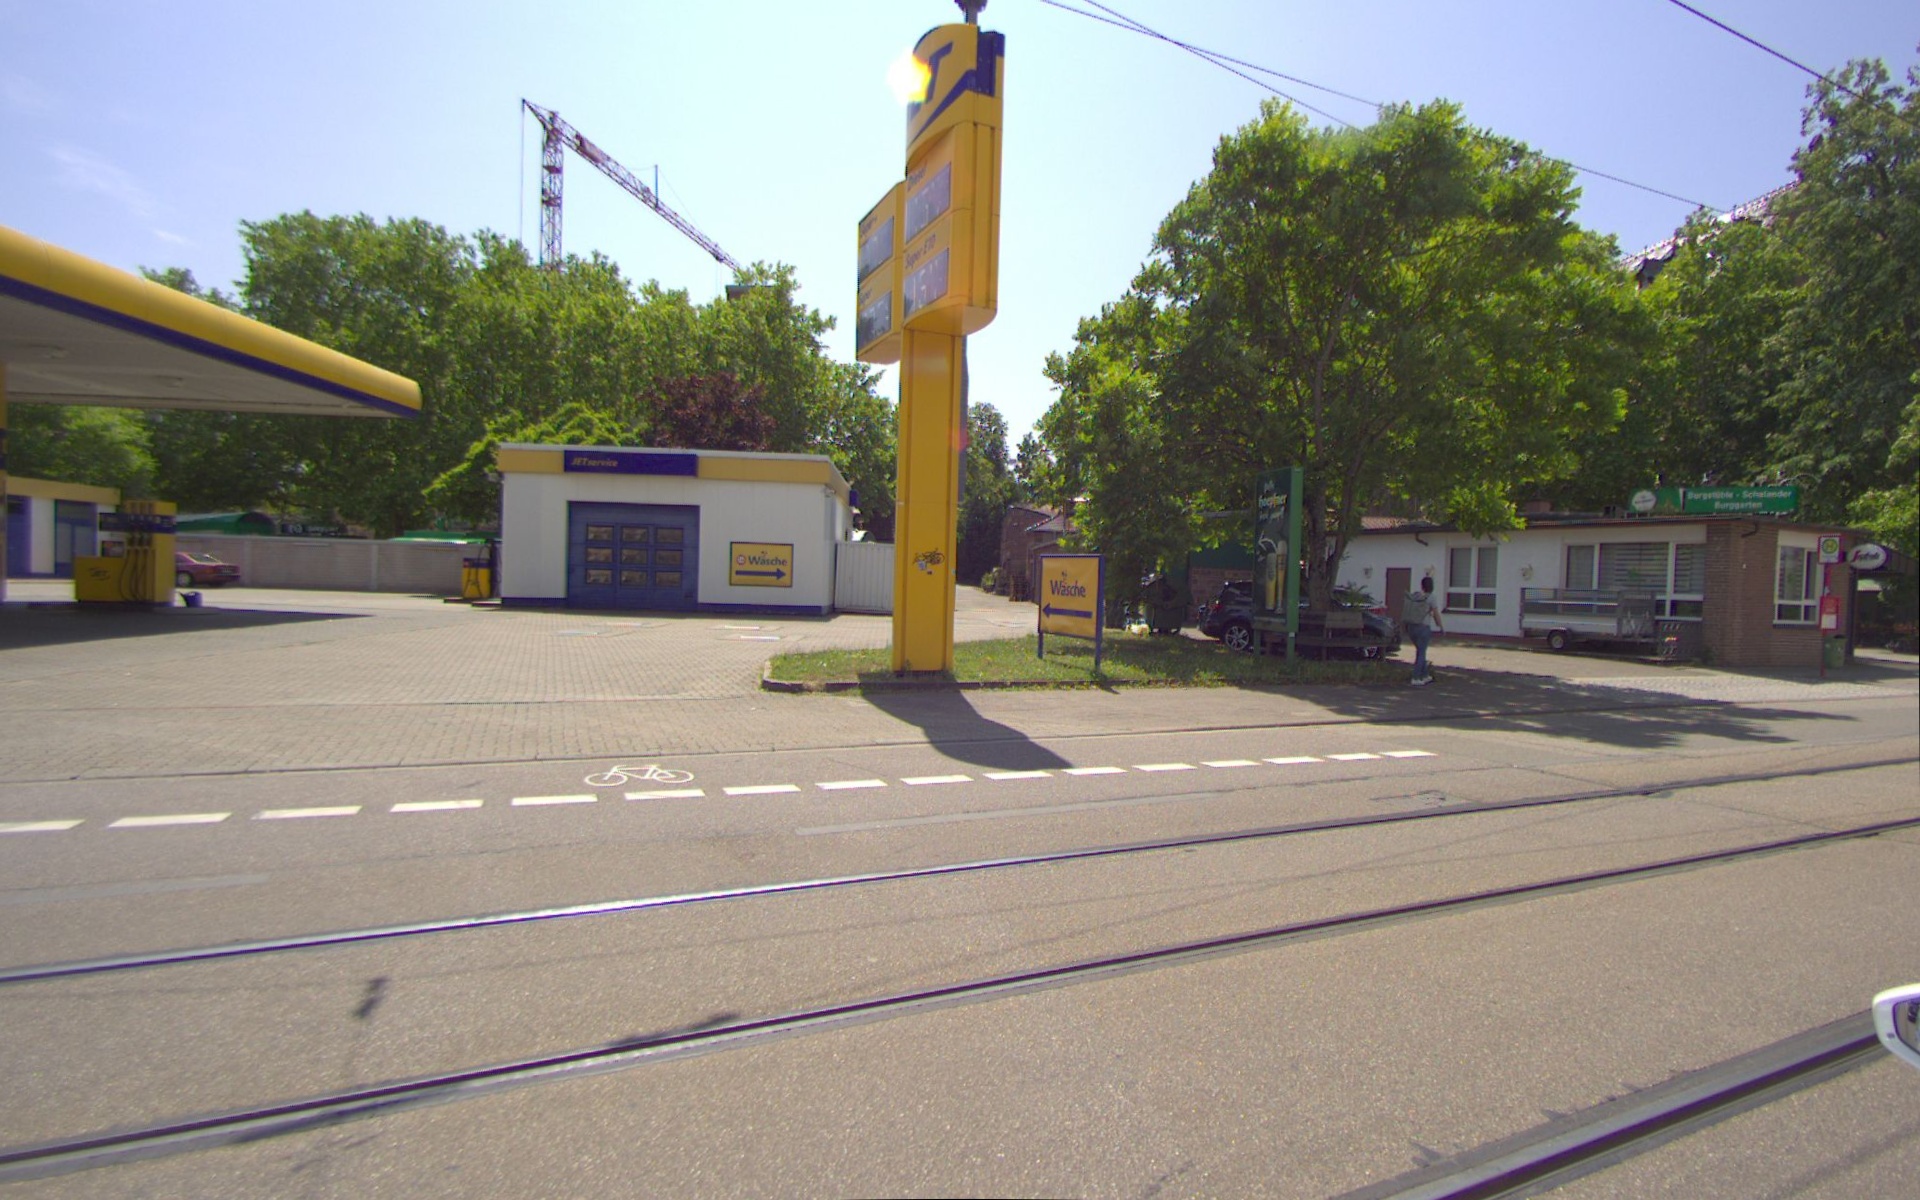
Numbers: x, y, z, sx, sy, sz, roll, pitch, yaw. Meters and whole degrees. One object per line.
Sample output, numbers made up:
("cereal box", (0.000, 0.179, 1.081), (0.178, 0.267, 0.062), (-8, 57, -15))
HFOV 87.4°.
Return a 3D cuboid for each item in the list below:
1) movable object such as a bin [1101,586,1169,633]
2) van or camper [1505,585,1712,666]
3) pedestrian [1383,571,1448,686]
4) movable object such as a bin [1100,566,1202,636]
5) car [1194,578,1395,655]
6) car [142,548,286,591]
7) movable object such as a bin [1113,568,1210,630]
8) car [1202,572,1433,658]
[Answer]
("movable object such as a bin", (4.772, 0.256, 27.566), (1.534, 1.153, 1.408), (2, 3, -3))
("van or camper", (15.655, 0.554, 24.460), (1.847, 1.651, 3.770), (0, 3, -26))
("pedestrian", (7.367, 0.458, 16.263), (0.691, 1.799, 0.577), (1, 3, -30))
("movable object such as a bin", (4.559, -0.001, 24.143), (2.059, 1.530, 1.525), (2, 3, -3))
("car", (7.953, 0.342, 24.226), (4.361, 1.508, 1.936), (3, 3, 15))
("car", (-28.245, -1.160, 38.118), (4.157, 1.429, 1.719), (2, 1, -1))
("movable object such as a bin", (5.124, -0.043, 25.719), (2.059, 1.451, 1.525), (2, 3, -3))
("car", (7.451, 0.266, 21.392), (4.361, 1.508, 1.936), (3, 3, 13))
